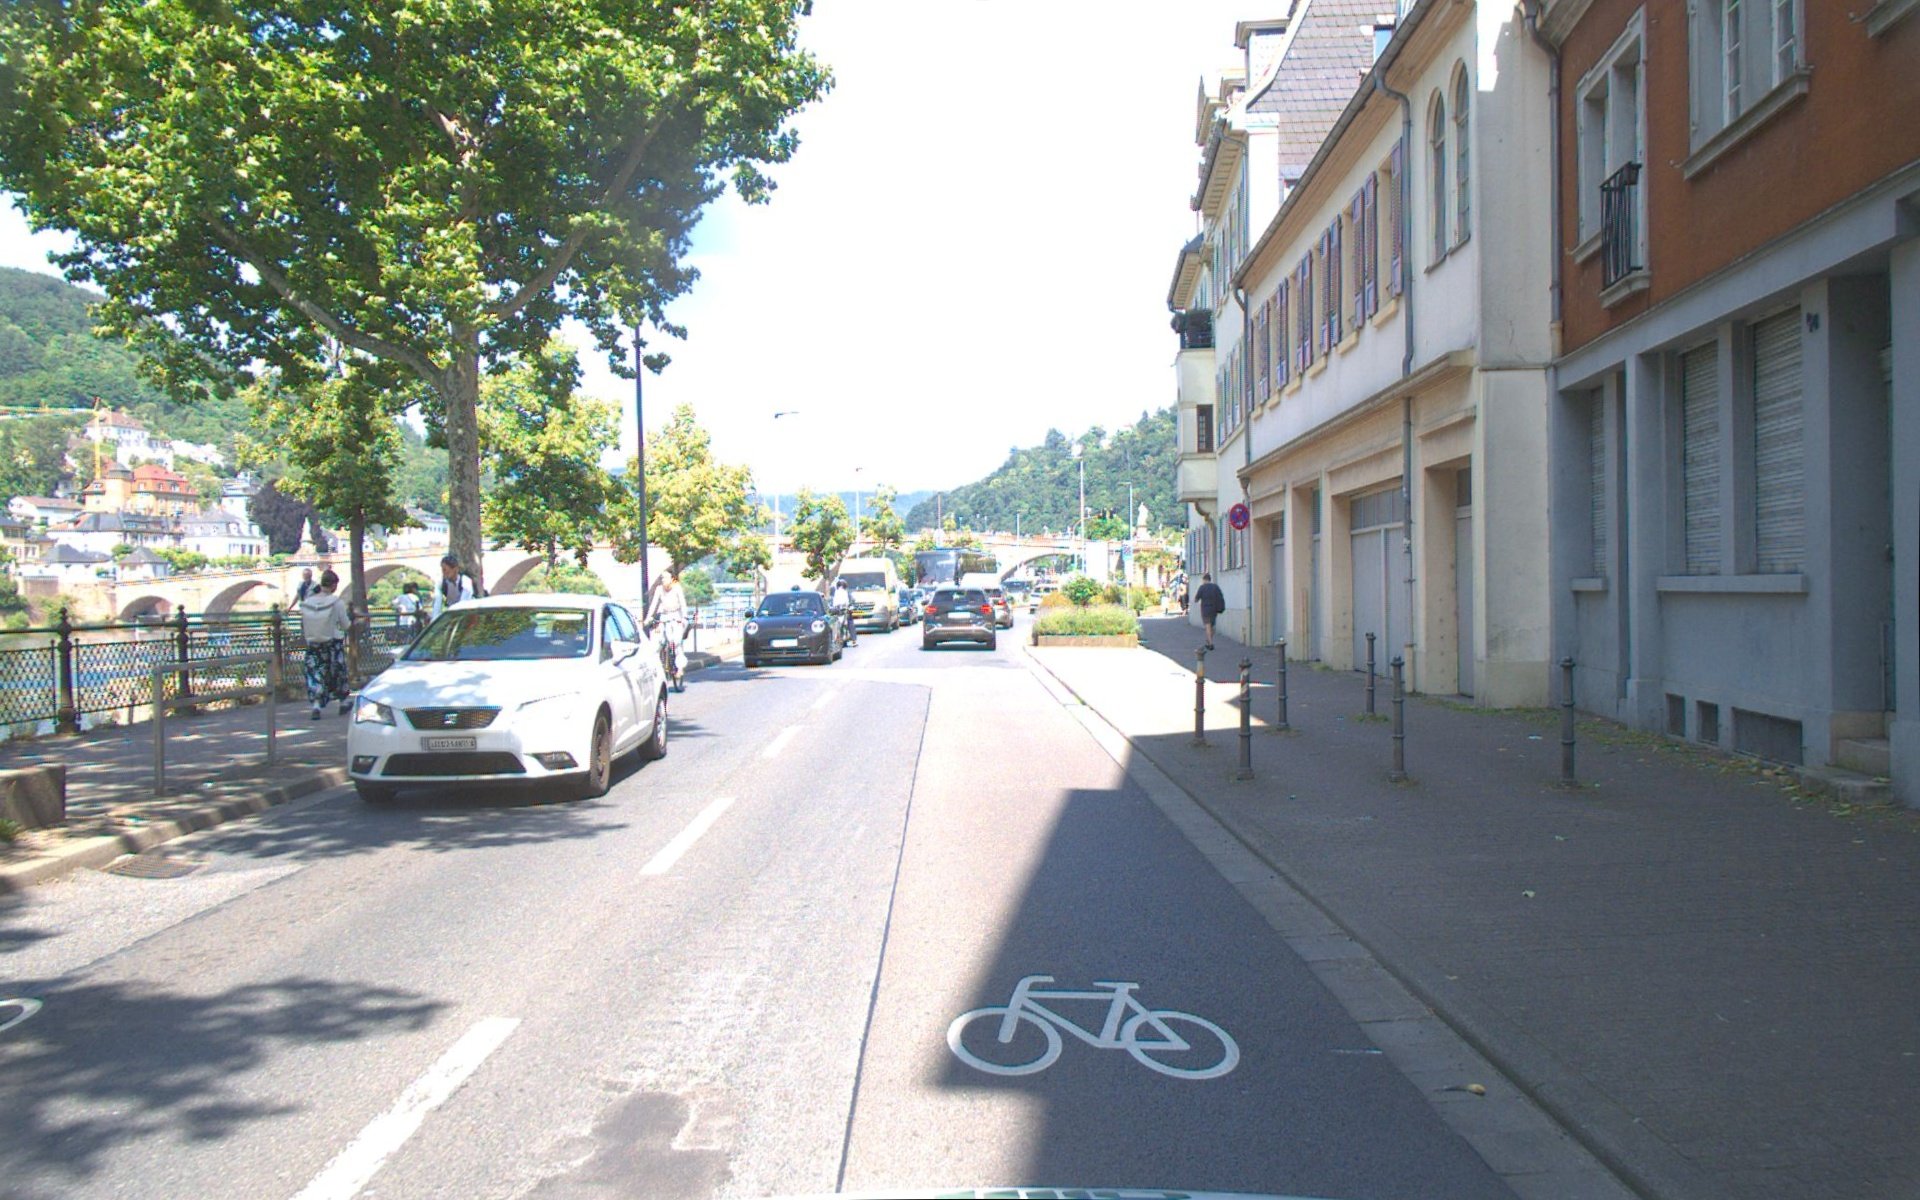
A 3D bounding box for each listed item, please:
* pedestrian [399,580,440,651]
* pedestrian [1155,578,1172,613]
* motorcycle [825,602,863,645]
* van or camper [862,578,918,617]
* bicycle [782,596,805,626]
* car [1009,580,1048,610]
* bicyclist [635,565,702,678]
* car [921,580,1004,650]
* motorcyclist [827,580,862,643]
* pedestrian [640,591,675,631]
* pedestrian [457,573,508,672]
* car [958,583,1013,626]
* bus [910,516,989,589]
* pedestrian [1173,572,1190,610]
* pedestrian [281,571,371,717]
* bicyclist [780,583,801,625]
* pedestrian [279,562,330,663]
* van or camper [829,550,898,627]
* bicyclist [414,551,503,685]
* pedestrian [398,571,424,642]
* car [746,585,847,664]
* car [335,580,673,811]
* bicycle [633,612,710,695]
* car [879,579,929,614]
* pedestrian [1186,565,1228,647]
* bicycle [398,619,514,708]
[{"bbox_3d":[-12.509,0.355,38.304,0.679,1.644,0.664,0,0,6],"label":"pedestrian"},{"bbox_3d":[9.573,-0.217,77.753,0.745,1.623,0.696,-2,0,7],"label":"pedestrian"},{"bbox_3d":[-3.010,0.607,43.155,0.865,1.096,2.327,-1,-1,-1],"label":"motorcycle"},{"bbox_3d":[-2.876,-0.107,68.539,1.952,1.480,4.683,-2,0,1],"label":"van or camper"},{"bbox_3d":[-6.794,0.431,67.573,0.696,1.189,1.896,0,1,1],"label":"bicycle"},{"bbox_3d":[3.518,-0.251,84.241,1.886,1.486,4.834,0,0,4],"label":"car"},{"bbox_3d":[-4.187,0.294,23.822,0.751,1.558,1.025,1,2,1],"label":"bicyclist"},{"bbox_3d":[0.061,0.323,40.929,1.887,1.580,4.832,1,1,0],"label":"car"},{"bbox_3d":[-3.029,0.294,43.306,0.861,1.611,1.024,0,0,-2],"label":"motorcyclist"},{"bbox_3d":[-10.067,0.368,55.101,0.916,1.303,0.850,0,0,8],"label":"pedestrian"},{"bbox_3d":[-8.500,0.395,29.451,0.643,1.712,0.758,2,0,-2],"label":"pedestrian"},{"bbox_3d":[0.964,0.155,60.005,1.886,1.486,4.833,0,0,2],"label":"car"},{"bbox_3d":[-0.451,-2.520,93.461,2.575,3.626,12.993,0,-1,8],"label":"bus"},{"bbox_3d":[10.392,-0.430,77.710,0.722,1.728,0.934,-2,0,7],"label":"pedestrian"},{"bbox_3d":[-7.174,0.491,18.745,0.746,1.614,0.695,0,0,-2],"label":"pedestrian"},{"bbox_3d":[-6.924,0.174,67.711,0.725,1.697,1.089,0,1,1],"label":"bicyclist"},{"bbox_3d":[-13.047,0.236,32.939,0.679,1.979,0.886,0,0,-2],"label":"pedestrian"},{"bbox_3d":[-3.382,-0.398,59.443,2.044,2.602,7.091,0,0,0],"label":"van or camper"},{"bbox_3d":[-6.210,0.215,20.530,0.704,1.611,1.090,0,0,4],"label":"bicyclist"},{"bbox_3d":[-12.539,0.151,37.808,0.406,1.625,0.451,0,0,6],"label":"pedestrian"},{"bbox_3d":[-3.272,0.477,33.699,1.666,1.484,4.001,-1,0,-1],"label":"car"},{"bbox_3d":[-3.388,0.618,13.055,1.667,1.470,4.090,1,1,-2],"label":"car"},{"bbox_3d":[-4.147,0.749,23.906,0.725,1.096,1.953,1,1,1],"label":"bicycle"},{"bbox_3d":[-2.561,-0.179,76.150,1.775,1.453,4.313,-2,1,4],"label":"car"},{"bbox_3d":[5.373,0.129,35.997,0.746,1.743,0.696,-3,0,2],"label":"pedestrian"},{"bbox_3d":[-6.228,0.757,20.533,0.739,0.996,1.954,0,1,3],"label":"bicycle"}]
